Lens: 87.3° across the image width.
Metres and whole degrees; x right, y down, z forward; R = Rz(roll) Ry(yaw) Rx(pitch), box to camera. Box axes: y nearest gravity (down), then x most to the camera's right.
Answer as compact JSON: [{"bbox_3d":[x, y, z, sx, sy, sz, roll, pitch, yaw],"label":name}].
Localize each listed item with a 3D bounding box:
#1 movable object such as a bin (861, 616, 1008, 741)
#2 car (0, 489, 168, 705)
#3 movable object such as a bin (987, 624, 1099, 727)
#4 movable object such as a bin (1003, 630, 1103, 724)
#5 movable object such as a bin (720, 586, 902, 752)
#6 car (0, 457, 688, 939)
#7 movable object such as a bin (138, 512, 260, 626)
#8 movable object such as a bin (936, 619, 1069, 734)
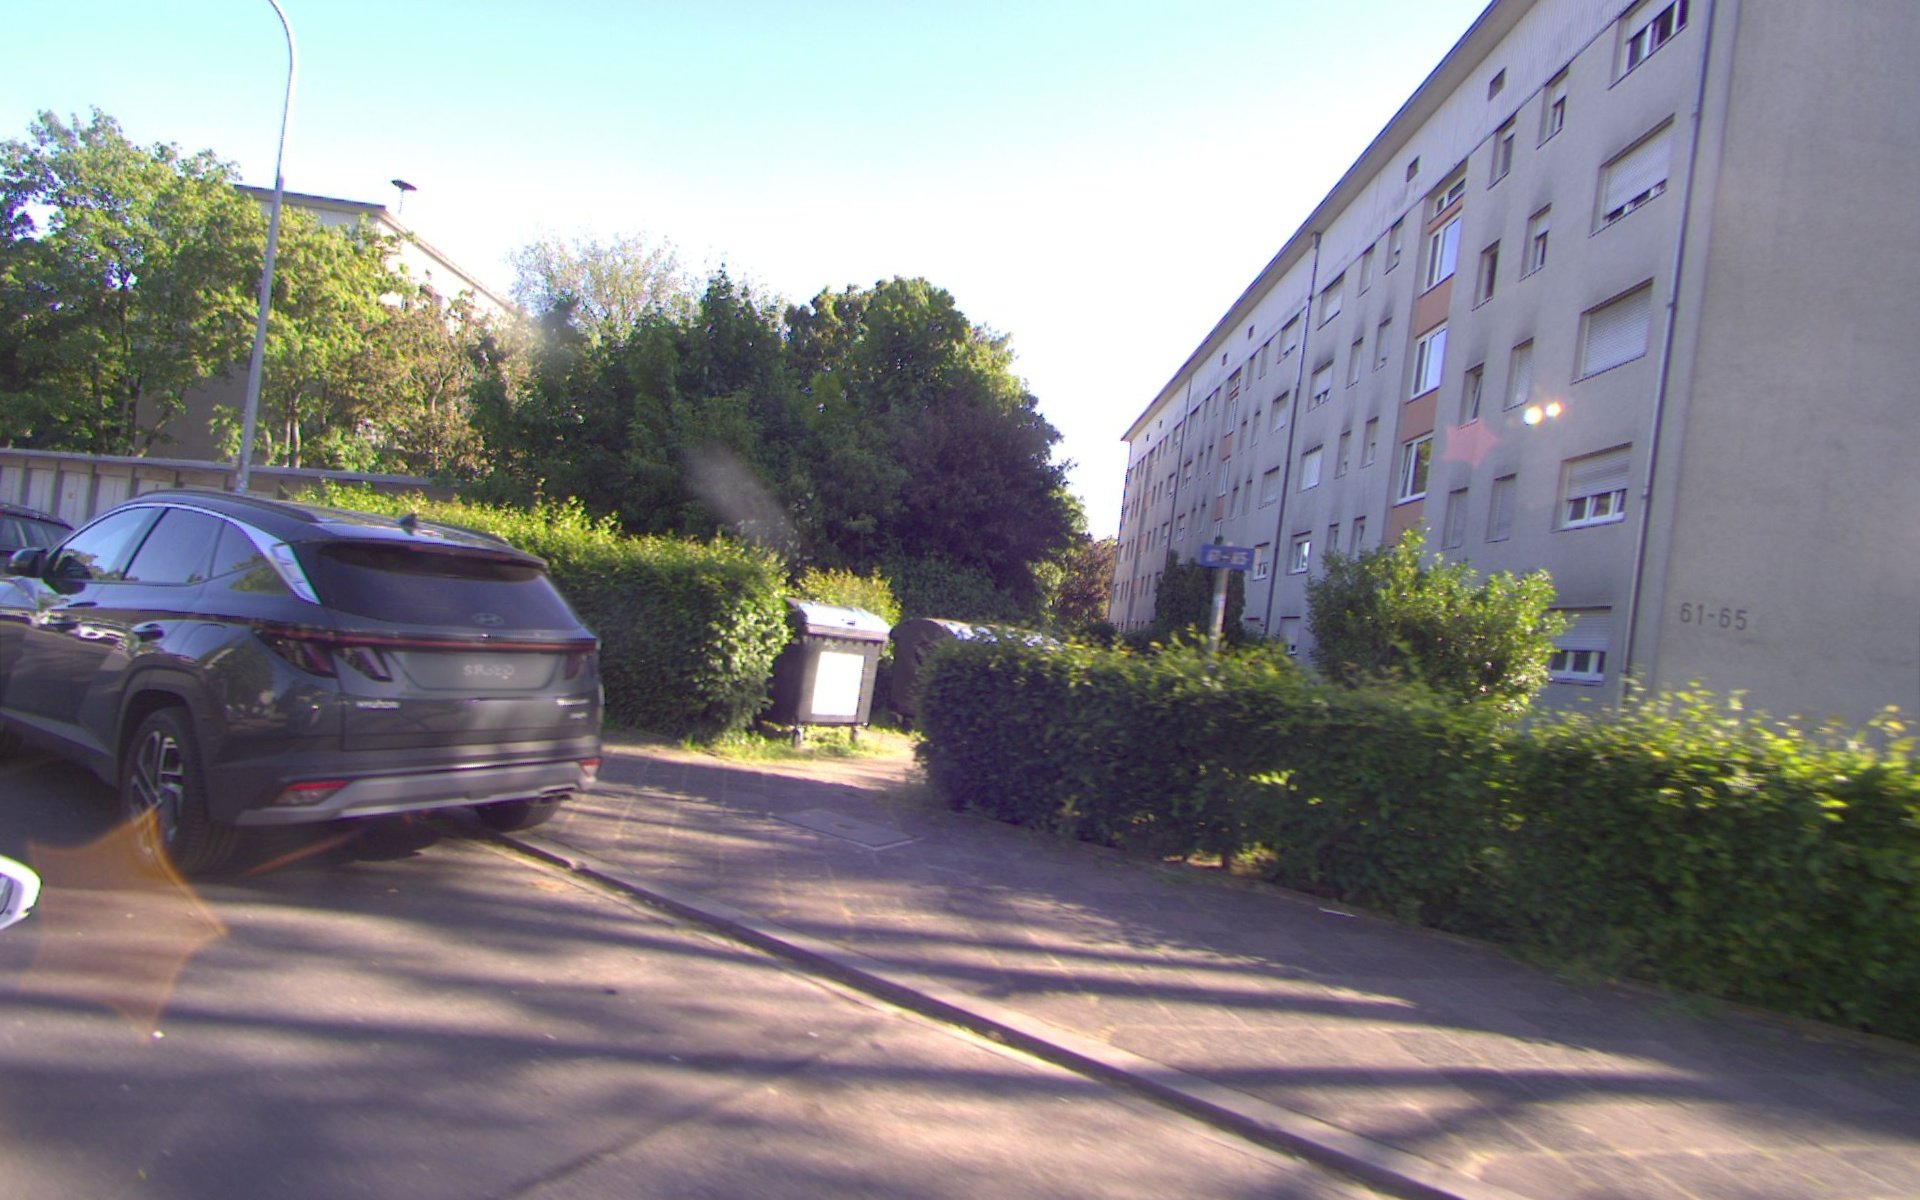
[{"bbox_3d":[-0.308,1.009,12.895,1.257,1.368,1.257,7,-2,31],"label":"movable object such as a bin"},{"bbox_3d":[-8.793,-0.238,8.433,4.256,1.548,1.912,7,-2,32],"label":"car"},{"bbox_3d":[1.309,1.179,15.613,1.255,1.368,1.259,7,-2,23],"label":"movable object such as a bin"},{"bbox_3d":[1.599,1.305,17.106,1.255,1.368,1.260,7,-2,21],"label":"movable object such as a bin"},{"bbox_3d":[-1.521,0.723,10.371,1.073,1.492,1.324,7,-1,36],"label":"movable object such as a bin"},{"bbox_3d":[-3.932,0.266,5.612,4.551,1.658,1.912,7,-2,32],"label":"car"},{"bbox_3d":[-11.185,-0.453,14.785,1.212,1.471,0.919,7,-1,32],"label":"movable object such as a bin"},{"bbox_3d":[0.602,1.073,14.044,1.257,1.368,1.257,7,-2,31],"label":"movable object such as a bin"}]
